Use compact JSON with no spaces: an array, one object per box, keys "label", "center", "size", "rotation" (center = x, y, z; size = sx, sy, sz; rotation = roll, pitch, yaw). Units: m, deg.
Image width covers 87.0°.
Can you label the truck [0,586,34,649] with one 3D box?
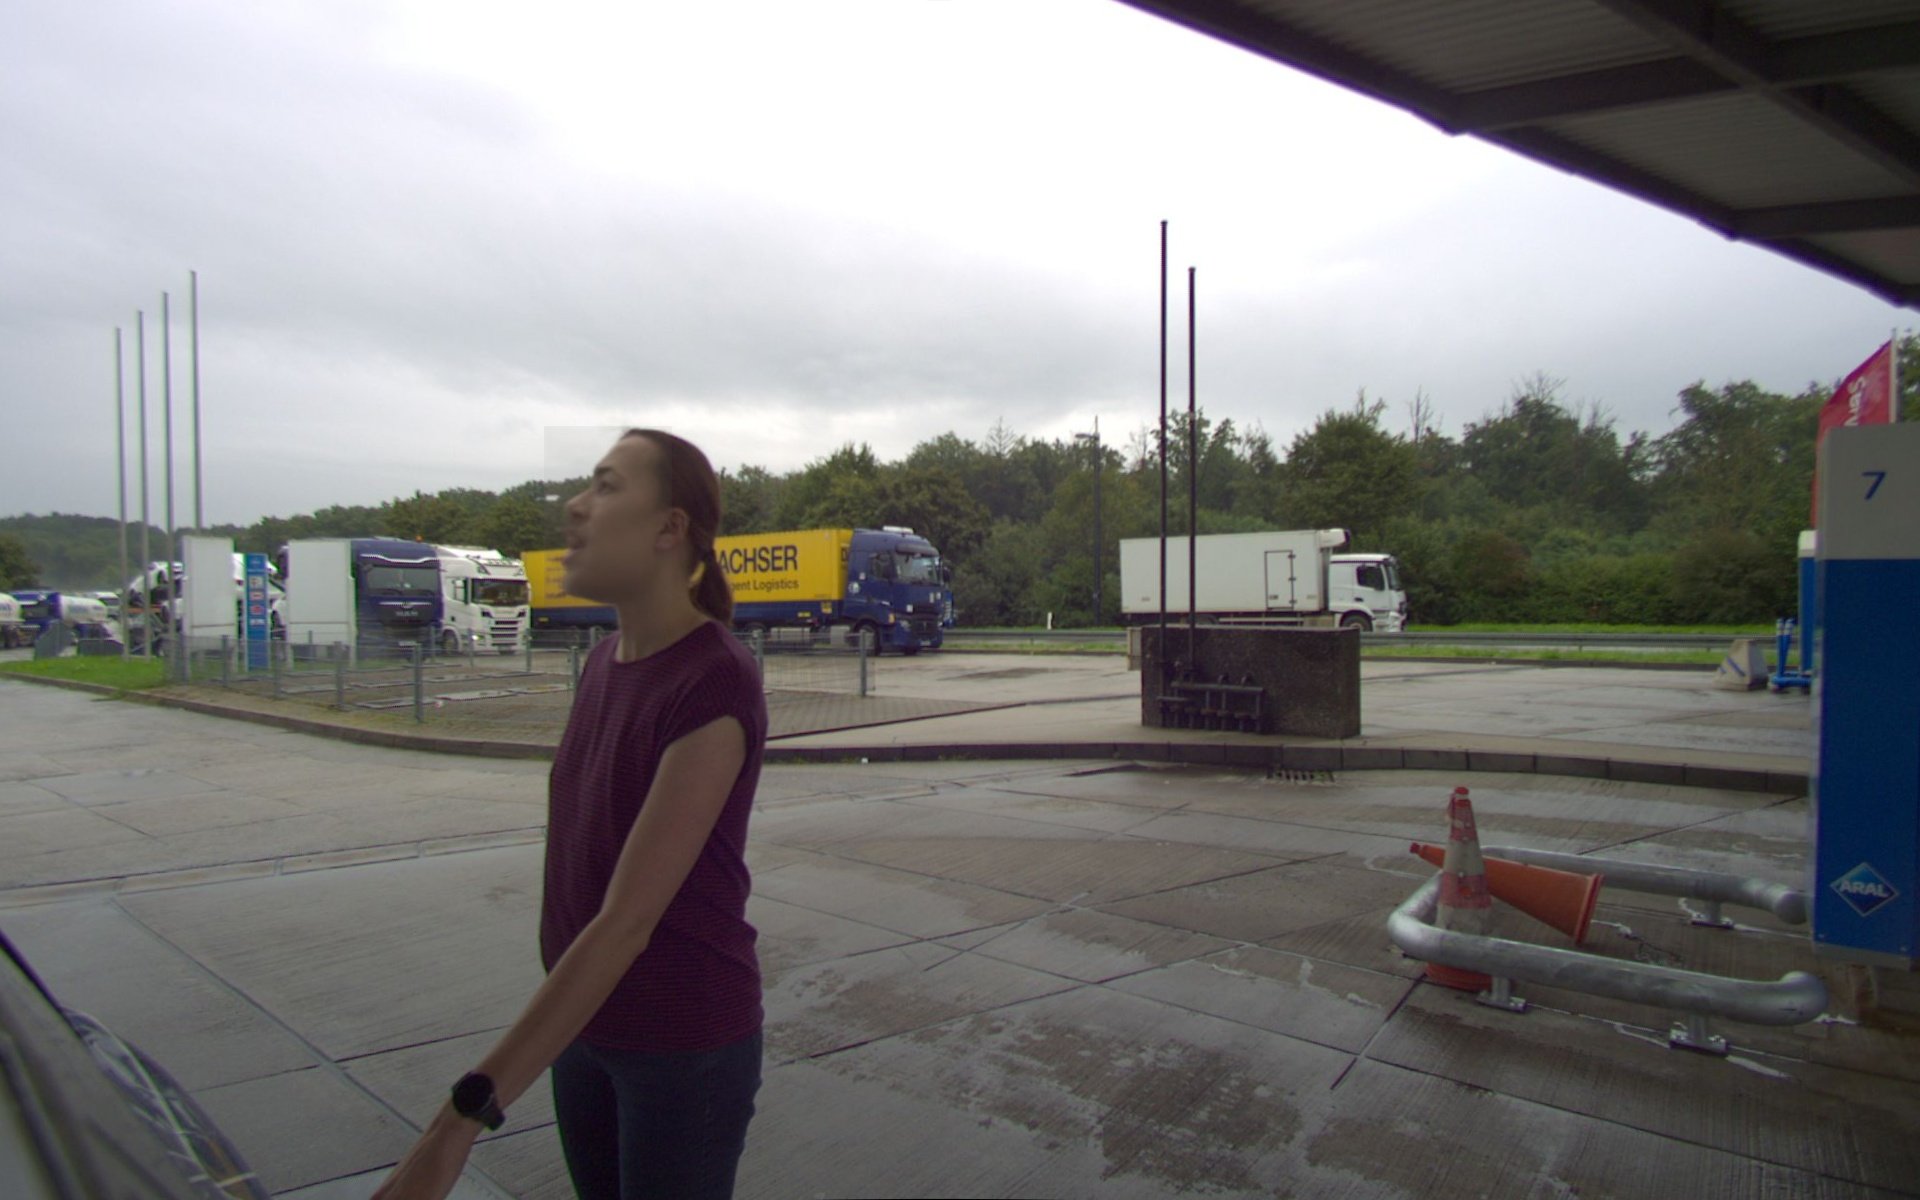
[{"label":"truck","center":[-55.541,1.019,55.004],"size":[3.196,3.591,12.013],"rotation":[-1,0,-19]}]

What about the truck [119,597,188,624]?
[{"label":"truck","center":[-110.384,1.487,138.423],"size":[14.626,3.591,3.215],"rotation":[-1,-1,34]}]

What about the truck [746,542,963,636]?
[{"label":"truck","center":[-5.125,-0.431,47.675],"size":[10.433,4.063,2.961],"rotation":[-1,0,30]}]

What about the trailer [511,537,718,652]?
[{"label":"trailer","center":[-13.530,-0.165,39.274],"size":[8.833,4.063,2.743],"rotation":[-1,0,33]}]

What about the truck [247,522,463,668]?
[{"label":"truck","center":[-18.978,-0.113,31.607],"size":[7.244,4.063,2.957],"rotation":[-1,0,34]}]

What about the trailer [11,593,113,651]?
[{"label":"trailer","center":[-62.252,1.436,70.470],"size":[2.854,3.666,10.605],"rotation":[-1,0,-28]}]

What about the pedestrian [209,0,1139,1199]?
[{"label":"pedestrian","center":[-0.341,0.288,1.267],"size":[0.839,1.747,0.786],"rotation":[-1,-1,40]}]

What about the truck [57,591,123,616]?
[{"label":"truck","center":[-131.064,0.619,152.299],"size":[16.515,3.591,3.215],"rotation":[-1,0,34]}]

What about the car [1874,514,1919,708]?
[{"label":"car","center":[14.893,0.113,12.371],"size":[5.272,2.482,2.298],"rotation":[-1,-2,37]}]

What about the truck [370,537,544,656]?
[{"label":"truck","center":[-18.861,-0.095,37.814],"size":[6.726,4.063,2.956],"rotation":[-1,0,35]}]

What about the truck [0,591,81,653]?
[{"label":"truck","center":[-59.407,1.372,64.983],"size":[3.000,3.795,6.486],"rotation":[-1,0,-27]}]

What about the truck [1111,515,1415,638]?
[{"label":"truck","center":[11.043,-0.734,37.601],"size":[10.433,4.063,2.961],"rotation":[-1,0,30]}]

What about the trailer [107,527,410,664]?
[{"label":"trailer","center":[-25.402,-0.056,35.910],"size":[16.563,4.063,2.957],"rotation":[-1,0,34]}]

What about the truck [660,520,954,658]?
[{"label":"truck","center":[-5.375,-0.270,33.940],"size":[10.608,4.063,2.743],"rotation":[-1,0,33]}]
